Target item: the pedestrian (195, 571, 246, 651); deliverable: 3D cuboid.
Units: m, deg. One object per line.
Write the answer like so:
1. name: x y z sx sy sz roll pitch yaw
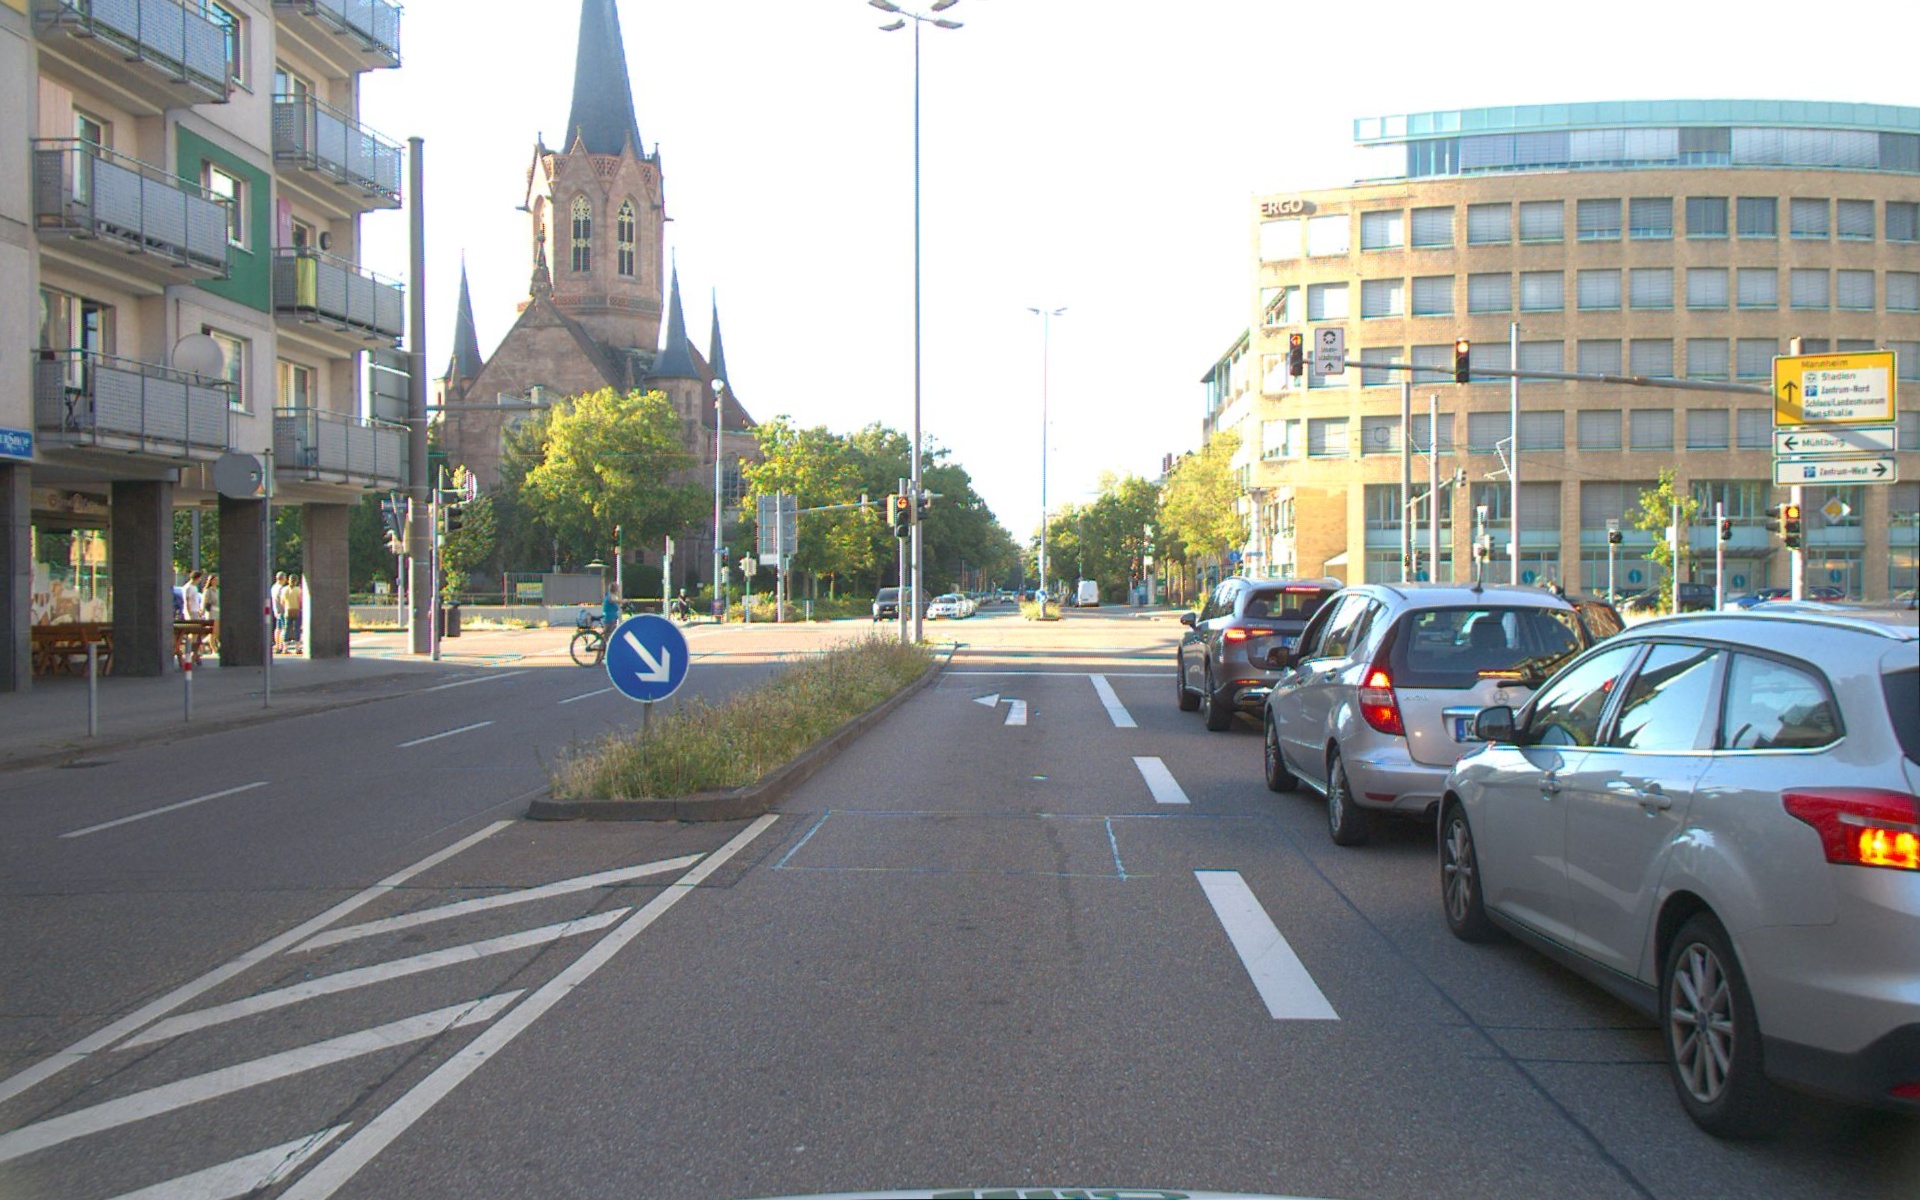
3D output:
1. pedestrian: -16.303 0.233 36.470 0.737 1.739 0.675 0 0 11

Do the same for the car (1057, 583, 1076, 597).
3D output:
1. car: 12.888 -1.227 200.474 1.953 1.620 4.000 -1 1 -1

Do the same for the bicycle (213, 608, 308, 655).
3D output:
1. bicycle: -18.652 0.824 44.142 2.001 1.188 1.162 -1 1 0

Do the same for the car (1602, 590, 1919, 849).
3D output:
1. car: 6.210 0.705 11.965 1.616 1.510 4.241 1 1 2

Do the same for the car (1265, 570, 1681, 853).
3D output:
1. car: 3.255 0.612 11.230 1.766 1.595 3.619 -1 1 1

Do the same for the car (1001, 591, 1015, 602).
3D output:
1. car: 6.401 -0.455 218.713 1.743 1.474 4.002 0 1 3

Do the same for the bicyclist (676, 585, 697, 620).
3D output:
1. bicyclist: -13.584 0.120 82.093 0.764 1.723 0.640 0 0 28

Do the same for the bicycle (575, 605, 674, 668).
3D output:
1. bicycle: -6.611 0.715 32.624 1.789 1.209 0.734 -1 0 1

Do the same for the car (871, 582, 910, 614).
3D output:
1. car: -3.803 -0.124 90.969 1.743 1.676 4.002 0 1 3

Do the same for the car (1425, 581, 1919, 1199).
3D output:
1. car: 3.011 0.714 5.836 1.672 1.536 4.310 1 1 2

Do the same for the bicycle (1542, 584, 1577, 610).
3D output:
1. bicycle: 27.948 -0.119 77.157 1.487 1.193 0.475 0 1 13

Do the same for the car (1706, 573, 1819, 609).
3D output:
1. car: 36.259 -0.413 74.813 4.142 1.528 2.000 -1 1 -1

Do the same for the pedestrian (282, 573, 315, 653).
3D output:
1. pedestrian: -15.053 0.291 37.640 0.540 1.800 0.470 0 0 4

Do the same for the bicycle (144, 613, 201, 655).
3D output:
1. bicycle: -18.517 0.793 38.918 0.486 0.922 1.704 -1 1 1

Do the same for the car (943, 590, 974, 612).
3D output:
1. car: -0.052 0.054 104.125 1.743 1.257 4.002 0 1 3

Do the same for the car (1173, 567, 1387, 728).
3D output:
1. car: 3.615 0.459 19.427 1.747 1.661 4.480 0 1 2

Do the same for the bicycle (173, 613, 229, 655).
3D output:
1. bicycle: -17.901 0.787 39.030 0.486 0.922 1.704 -1 1 1

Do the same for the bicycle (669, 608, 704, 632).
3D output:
1. bicycle: -13.573 1.006 82.095 1.642 1.159 0.646 0 1 28

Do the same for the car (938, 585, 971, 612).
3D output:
1. car: -0.312 -0.089 96.862 1.743 1.490 4.002 0 1 3

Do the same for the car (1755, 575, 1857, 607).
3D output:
1. car: 36.487 -0.399 71.409 3.533 1.366 1.722 0 1 3

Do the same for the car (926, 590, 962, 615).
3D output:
1. car: -0.859 0.114 90.304 1.743 1.257 4.002 0 1 3

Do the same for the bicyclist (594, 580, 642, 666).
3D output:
1. bicyclist: -6.839 0.451 33.107 0.766 1.689 0.900 -1 0 -1

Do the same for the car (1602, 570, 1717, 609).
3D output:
1. car: 30.335 -0.460 71.812 4.140 1.642 2.001 0 1 4

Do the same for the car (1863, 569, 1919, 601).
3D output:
1. car: 41.577 -0.658 71.556 3.905 1.370 2.000 0 0 0

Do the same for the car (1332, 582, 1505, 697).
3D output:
1. car: 6.416 0.503 23.501 1.552 1.472 3.649 1 1 2

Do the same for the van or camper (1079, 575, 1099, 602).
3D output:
1. van or camper: 13.223 -1.170 169.444 1.952 2.686 5.353 0 1 4

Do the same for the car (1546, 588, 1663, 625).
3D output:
1. car: 29.244 0.281 75.103 4.552 1.626 2.000 -1 1 0

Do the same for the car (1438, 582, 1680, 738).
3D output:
1. car: 6.454 0.582 18.179 1.458 1.532 3.479 -1 1 1

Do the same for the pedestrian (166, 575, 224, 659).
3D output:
1. pedestrian: -16.423 0.362 35.516 0.903 1.789 0.675 0 0 11

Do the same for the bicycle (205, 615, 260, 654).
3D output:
1. bicycle: -17.135 0.802 38.977 0.486 0.854 1.704 -1 1 1
